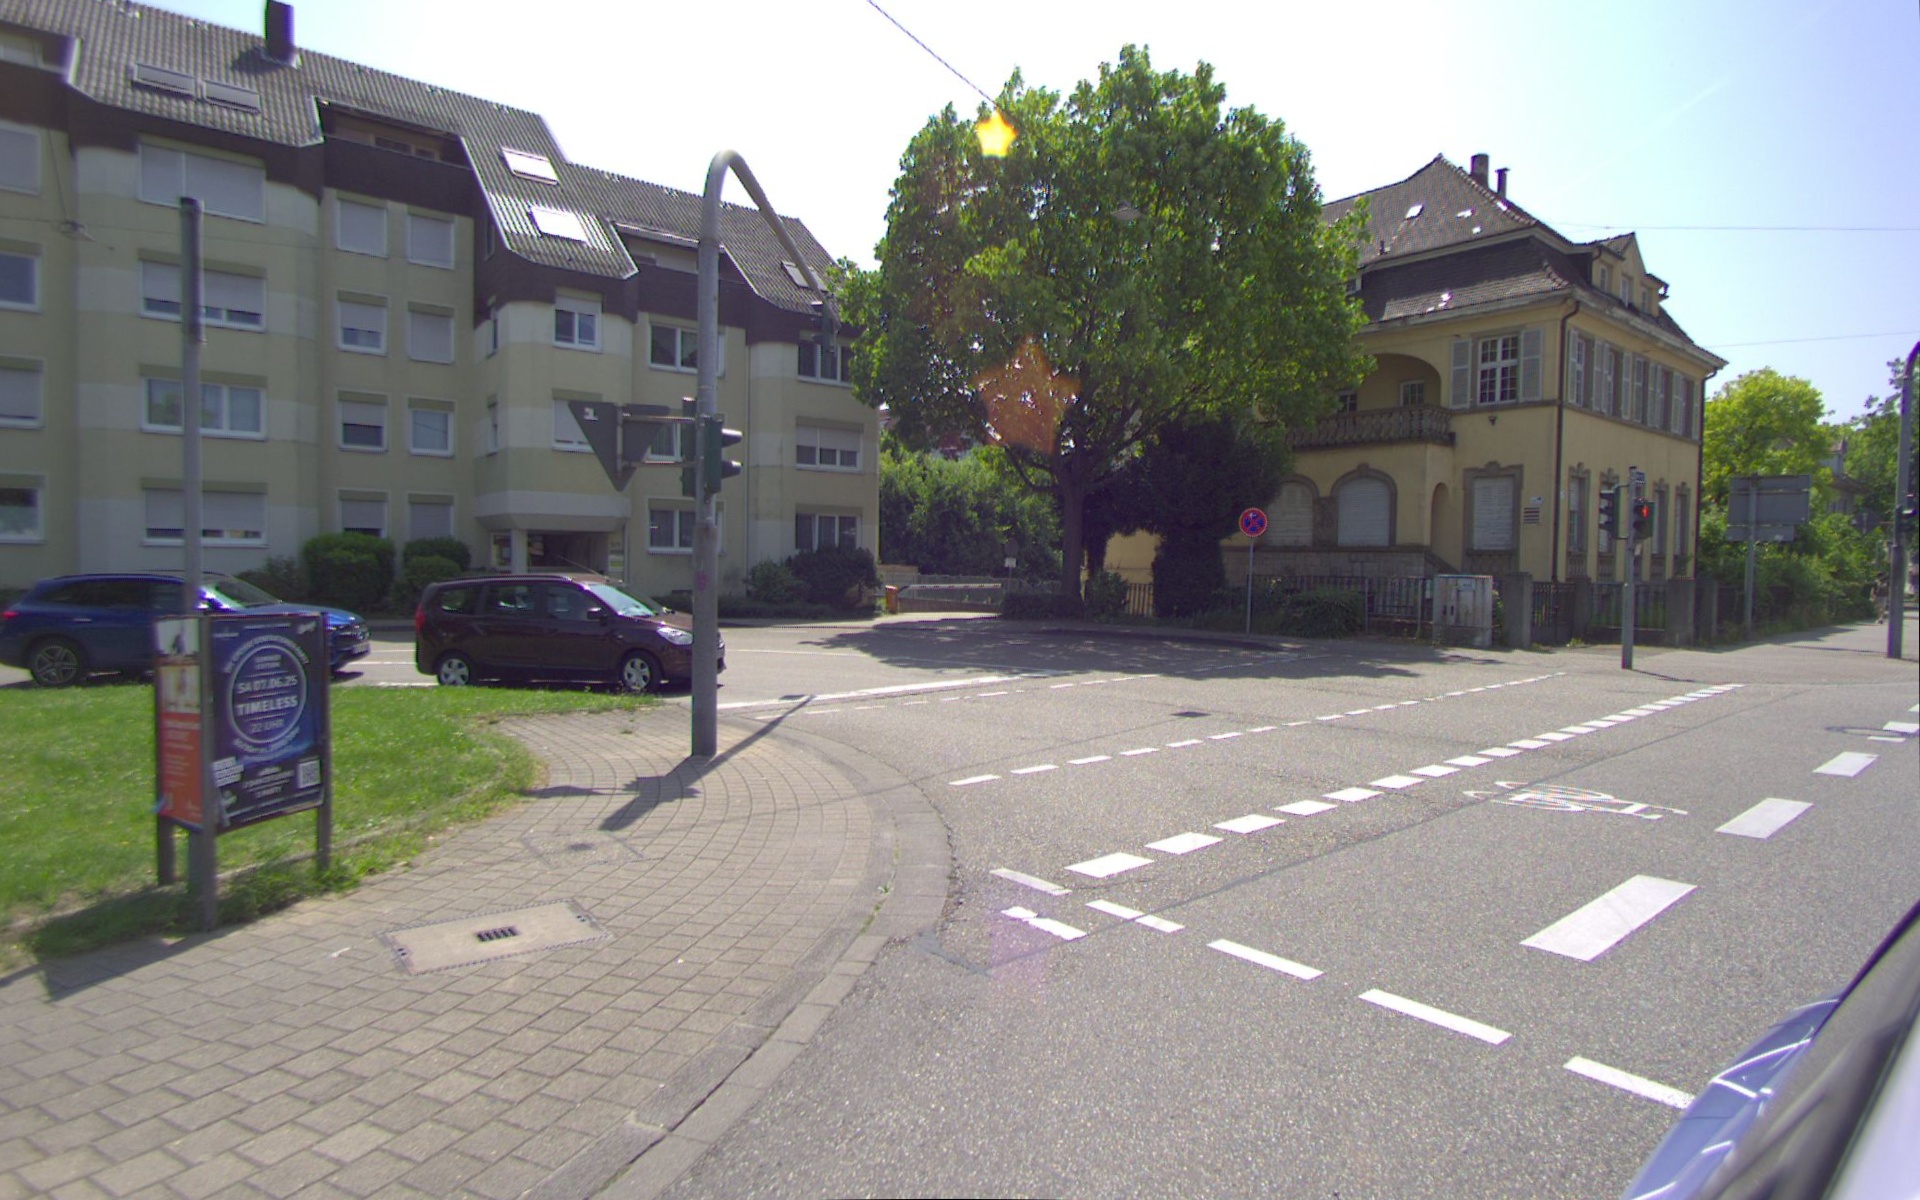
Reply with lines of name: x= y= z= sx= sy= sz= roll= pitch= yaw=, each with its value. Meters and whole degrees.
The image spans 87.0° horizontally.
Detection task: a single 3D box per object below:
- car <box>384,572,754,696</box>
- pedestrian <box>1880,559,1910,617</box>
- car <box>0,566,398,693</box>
car: x=-5.612 y=0.440 z=14.826 sx=4.738 sy=1.652 sz=1.914 roll=0 pitch=2 yaw=8
pedestrian: x=31.850 y=-0.424 z=34.464 sx=0.731 sy=1.942 sz=0.620 roll=-1 pitch=3 yaw=-41
car: x=-11.542 y=0.363 z=15.529 sx=4.670 sy=1.721 sz=2.004 roll=-1 pitch=3 yaw=-10
